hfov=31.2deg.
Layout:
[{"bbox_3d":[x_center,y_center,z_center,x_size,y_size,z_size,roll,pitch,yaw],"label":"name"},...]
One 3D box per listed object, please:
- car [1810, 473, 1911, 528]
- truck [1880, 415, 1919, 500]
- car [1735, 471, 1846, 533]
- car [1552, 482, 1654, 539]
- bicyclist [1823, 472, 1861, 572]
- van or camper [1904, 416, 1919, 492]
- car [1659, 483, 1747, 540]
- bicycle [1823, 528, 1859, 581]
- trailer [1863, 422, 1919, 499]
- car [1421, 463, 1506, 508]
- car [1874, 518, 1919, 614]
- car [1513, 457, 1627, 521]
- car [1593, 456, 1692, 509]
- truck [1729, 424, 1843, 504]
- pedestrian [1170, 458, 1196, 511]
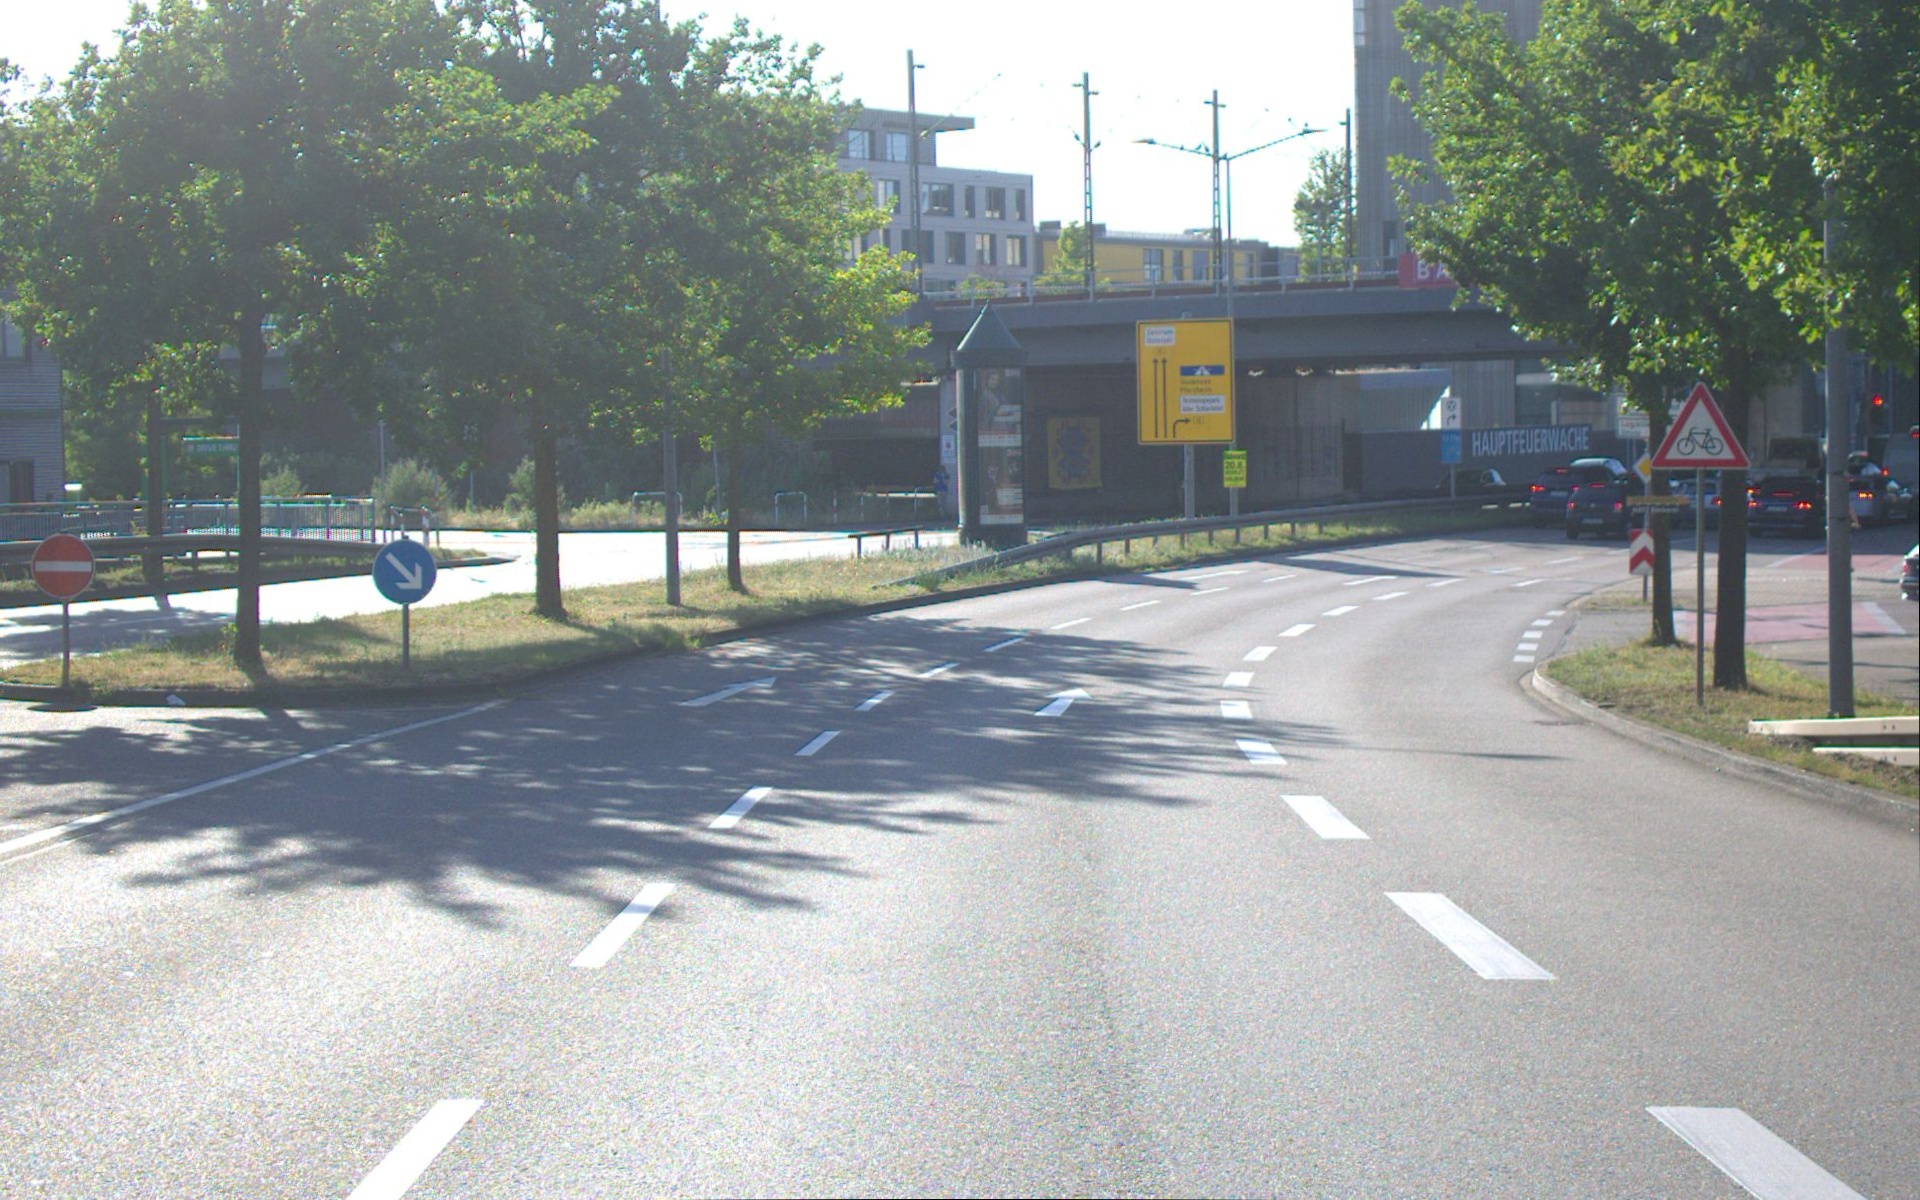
[{"bbox_3d":[25.420,-2.814,96.973,1.775,1.490,3.826,0,2,30],"label":"car"},{"bbox_3d":[29.470,-4.295,104.023,2.115,2.511,4.394,1,2,29],"label":"truck"},{"bbox_3d":[21.922,-2.605,90.649,1.743,1.449,4.599,2,5,28],"label":"car"},{"bbox_3d":[16.610,-2.330,88.704,1.584,1.403,3.827,2,3,26],"label":"car"},{"bbox_3d":[17.039,-1.511,66.458,0.682,1.900,0.833,1,2,14],"label":"bicyclist"},{"bbox_3d":[34.383,-5.008,117.917,1.997,2.561,5.906,2,3,34],"label":"van or camper"},{"bbox_3d":[20.634,-2.457,95.404,1.549,1.418,3.413,-2,2,27],"label":"car"},{"bbox_3d":[17.040,-0.892,66.532,0.579,0.960,2.885,0,2,13],"label":"bicycle"},{"bbox_3d":[31.292,-4.585,113.312,1.867,2.456,3.825,0,2,32],"label":"trailer"},{"bbox_3d":[17.173,-3.902,117.132,1.743,1.457,3.760,2,1,27],"label":"car"},{"bbox_3d":[16.950,-0.635,55.264,3.987,1.503,2.000,-3,1,-27],"label":"car"},{"bbox_3d":[16.983,-3.100,95.500,1.832,1.732,4.455,1,3,28],"label":"car"},{"bbox_3d":[20.148,-3.487,101.412,1.844,1.435,3.670,-2,1,27],"label":"car"},{"bbox_3d":[27.165,-4.467,112.896,2.031,2.547,5.528,2,3,31],"label":"truck"},{"bbox_3d":[7.916,-4.100,122.036,0.695,1.897,0.664,1,3,33],"label":"pedestrian"}]
